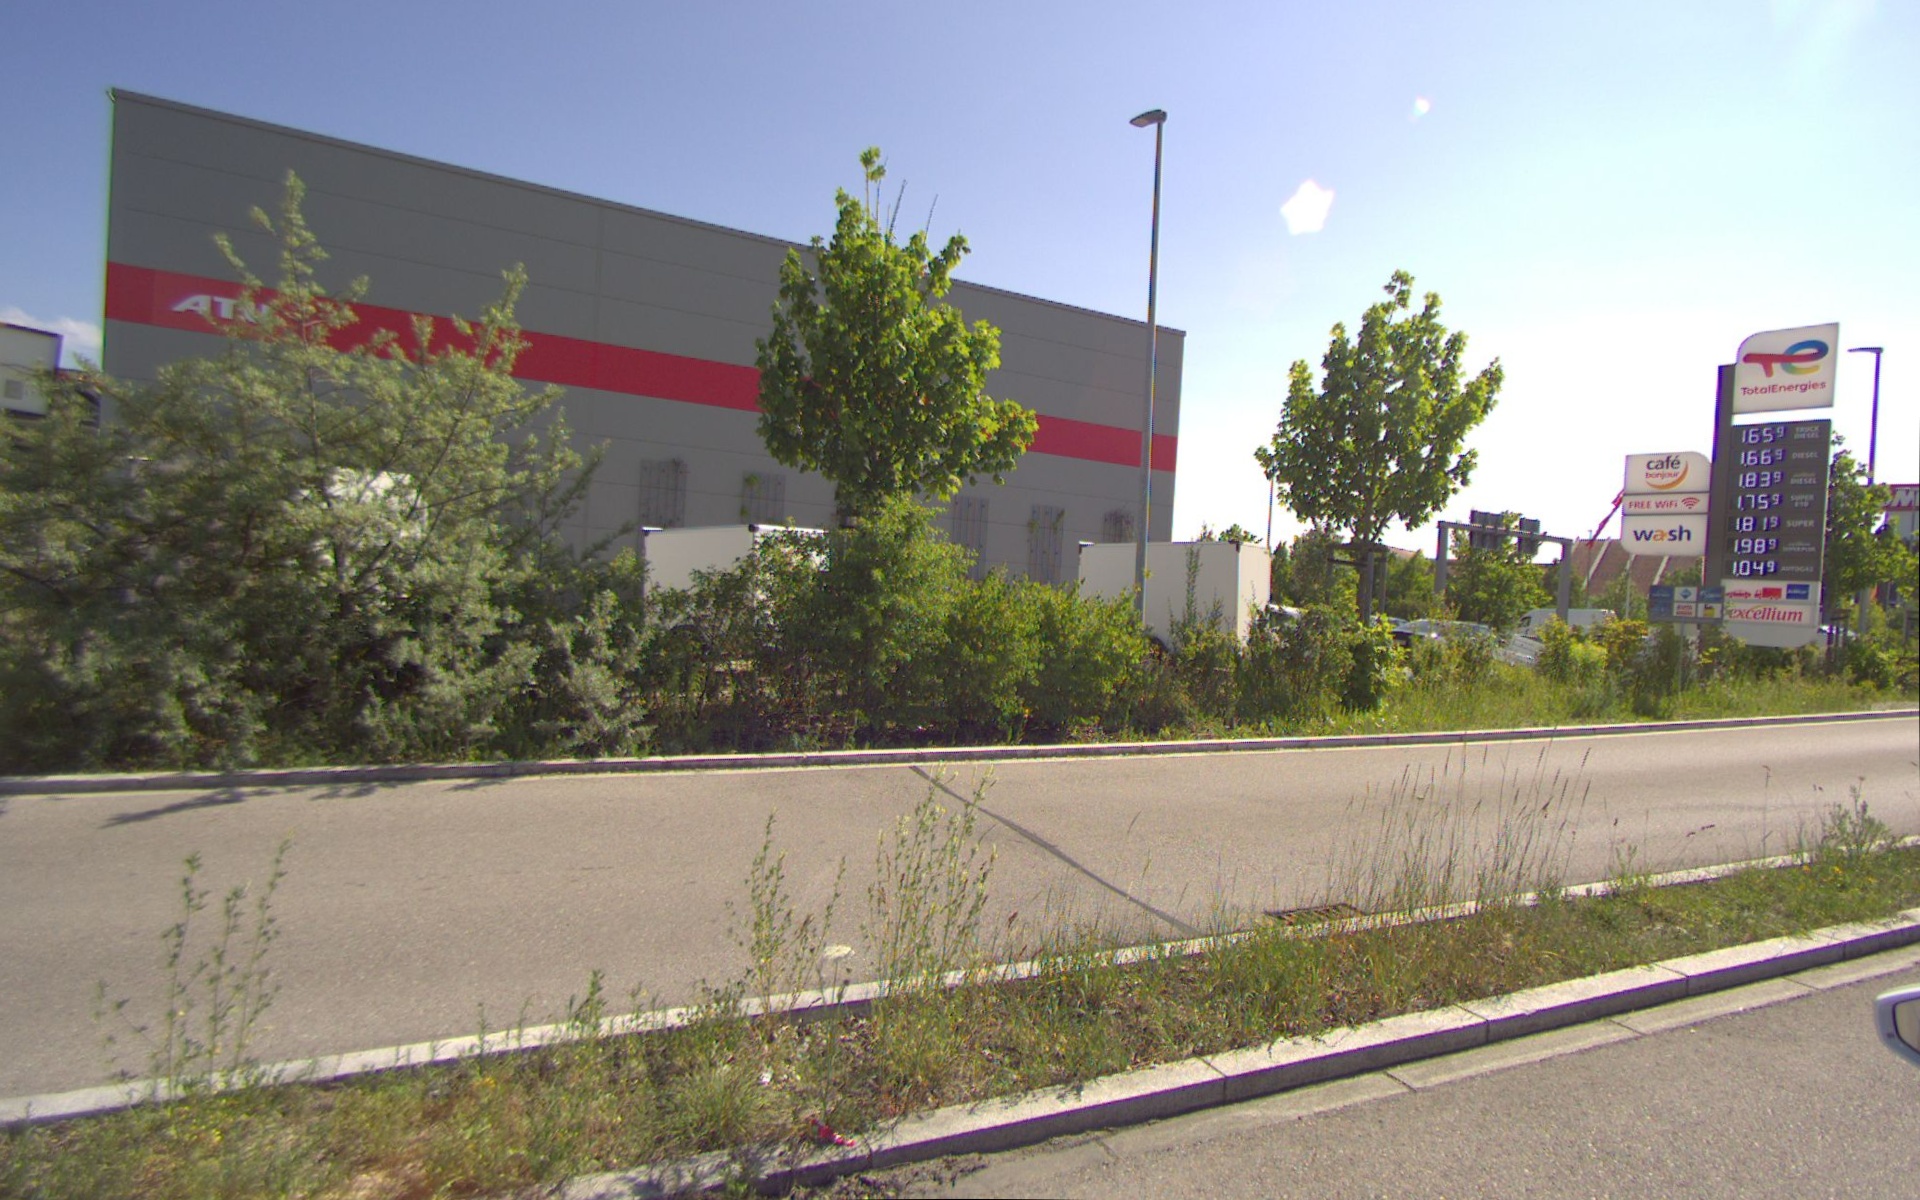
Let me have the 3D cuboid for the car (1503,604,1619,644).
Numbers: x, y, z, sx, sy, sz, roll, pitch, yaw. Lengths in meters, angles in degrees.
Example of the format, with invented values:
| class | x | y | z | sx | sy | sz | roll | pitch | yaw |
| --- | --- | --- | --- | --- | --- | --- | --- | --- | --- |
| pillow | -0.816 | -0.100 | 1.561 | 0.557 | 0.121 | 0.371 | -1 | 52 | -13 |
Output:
| class | x | y | z | sx | sy | sz | roll | pitch | yaw |
| --- | --- | --- | --- | --- | --- | --- | --- | --- | --- |
| car | 39.222 | 1.530 | 65.782 | 2.017 | 2.264 | 6.219 | 2 | 2 | -32 |

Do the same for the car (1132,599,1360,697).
| class | x | y | z | sx | sy | sz | roll | pitch | yaw |
| --- | --- | --- | --- | --- | --- | --- | --- | --- | --- |
| car | 5.598 | 0.867 | 19.849 | 3.936 | 1.557 | 1.712 | 4 | 2 | 38 |

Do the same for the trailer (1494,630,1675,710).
| class | x | y | z | sx | sy | sz | roll | pitch | yaw |
| --- | --- | --- | --- | --- | --- | --- | --- | --- | --- |
| trailer | 12.993 | 1.402 | 20.994 | 1.378 | 1.340 | 2.879 | 1 | 2 | -39 |

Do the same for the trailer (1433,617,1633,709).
| class | x | y | z | sx | sy | sz | roll | pitch | yaw |
| --- | --- | --- | --- | --- | --- | --- | --- | --- | --- |
| trailer | 11.452 | 1.196 | 20.182 | 1.538 | 1.503 | 3.149 | 1 | 2 | -44 |

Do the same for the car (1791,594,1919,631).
| class | x | y | z | sx | sy | sz | roll | pitch | yaw |
| --- | --- | --- | --- | --- | --- | --- | --- | --- | --- |
| car | 42.751 | 0.571 | 48.041 | 4.205 | 1.550 | 1.791 | 3 | 1 | 23 |

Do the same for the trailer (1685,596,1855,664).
| class | x | y | z | sx | sy | sz | roll | pitch | yaw |
| --- | --- | --- | --- | --- | --- | --- | --- | --- | --- |
| trailer | 23.567 | 0.826 | 29.411 | 3.633 | 1.795 | 1.803 | 1 | 0 | 33 |

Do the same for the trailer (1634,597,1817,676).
| class | x | y | z | sx | sy | sz | roll | pitch | yaw |
| --- | --- | --- | --- | --- | --- | --- | --- | --- | --- |
| trailer | 20.299 | 0.906 | 26.849 | 3.633 | 1.795 | 1.803 | 3 | 2 | 33 |

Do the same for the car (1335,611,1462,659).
| class | x | y | z | sx | sy | sz | roll | pitch | yaw |
| --- | --- | --- | --- | --- | --- | --- | --- | --- | --- |
| car | 14.608 | 1.176 | 33.430 | 3.950 | 1.483 | 1.812 | 2 | -1 | -28 |

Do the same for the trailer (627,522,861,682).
| class | x | y | z | sx | sy | sz | roll | pitch | yaw |
| --- | --- | --- | --- | --- | --- | --- | --- | --- | --- |
| trailer | -3.108 | -0.030 | 14.397 | 2.695 | 2.041 | 1.991 | 4 | 2 | 39 |

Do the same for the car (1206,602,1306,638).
| class | x | y | z | sx | sy | sz | roll | pitch | yaw |
| --- | --- | --- | --- | --- | --- | --- | --- | --- | --- |
| car | 14.292 | 0.941 | 48.644 | 4.365 | 1.484 | 1.826 | 3 | 1 | 8 |

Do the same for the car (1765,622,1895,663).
| class | x | y | z | sx | sy | sz | roll | pitch | yaw |
| --- | --- | --- | --- | --- | --- | --- | --- | --- | --- |
| car | 35.781 | 1.701 | 41.475 | 1.542 | 1.370 | 4.340 | 3 | 1 | 0 |

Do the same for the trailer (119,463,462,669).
| class | x | y | z | sx | sy | sz | roll | pitch | yaw |
| --- | --- | --- | --- | --- | --- | --- | --- | --- | --- |
| trailer | -7.678 | -0.412 | 11.554 | 3.147 | 2.041 | 1.997 | 3 | 2 | 28 |

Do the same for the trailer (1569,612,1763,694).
| class | x | y | z | sx | sy | sz | roll | pitch | yaw |
| --- | --- | --- | --- | --- | --- | --- | --- | --- | --- |
| trailer | 17.049 | 1.226 | 24.479 | 3.633 | 1.471 | 1.704 | 7 | 3 | 33 |

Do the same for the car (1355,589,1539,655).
| class | x | y | z | sx | sy | sz | roll | pitch | yaw |
| --- | --- | --- | --- | --- | --- | --- | --- | --- | --- |
| car | 12.585 | 0.570 | 25.948 | 4.433 | 1.503 | 1.793 | 2 | 2 | -23 |

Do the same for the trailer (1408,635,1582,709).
| class | x | y | z | sx | sy | sz | roll | pitch | yaw |
| --- | --- | --- | --- | --- | --- | --- | --- | --- | --- |
| trailer | 10.151 | 1.323 | 19.101 | 2.731 | 1.100 | 1.316 | 4 | 2 | 37 |

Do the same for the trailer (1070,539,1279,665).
| class | x | y | z | sx | sy | sz | roll | pitch | yaw |
| --- | --- | --- | --- | --- | --- | --- | --- | --- | --- |
| trailer | 3.849 | -0.016 | 18.156 | 3.187 | 2.041 | 1.742 | 4 | 2 | 36 |
